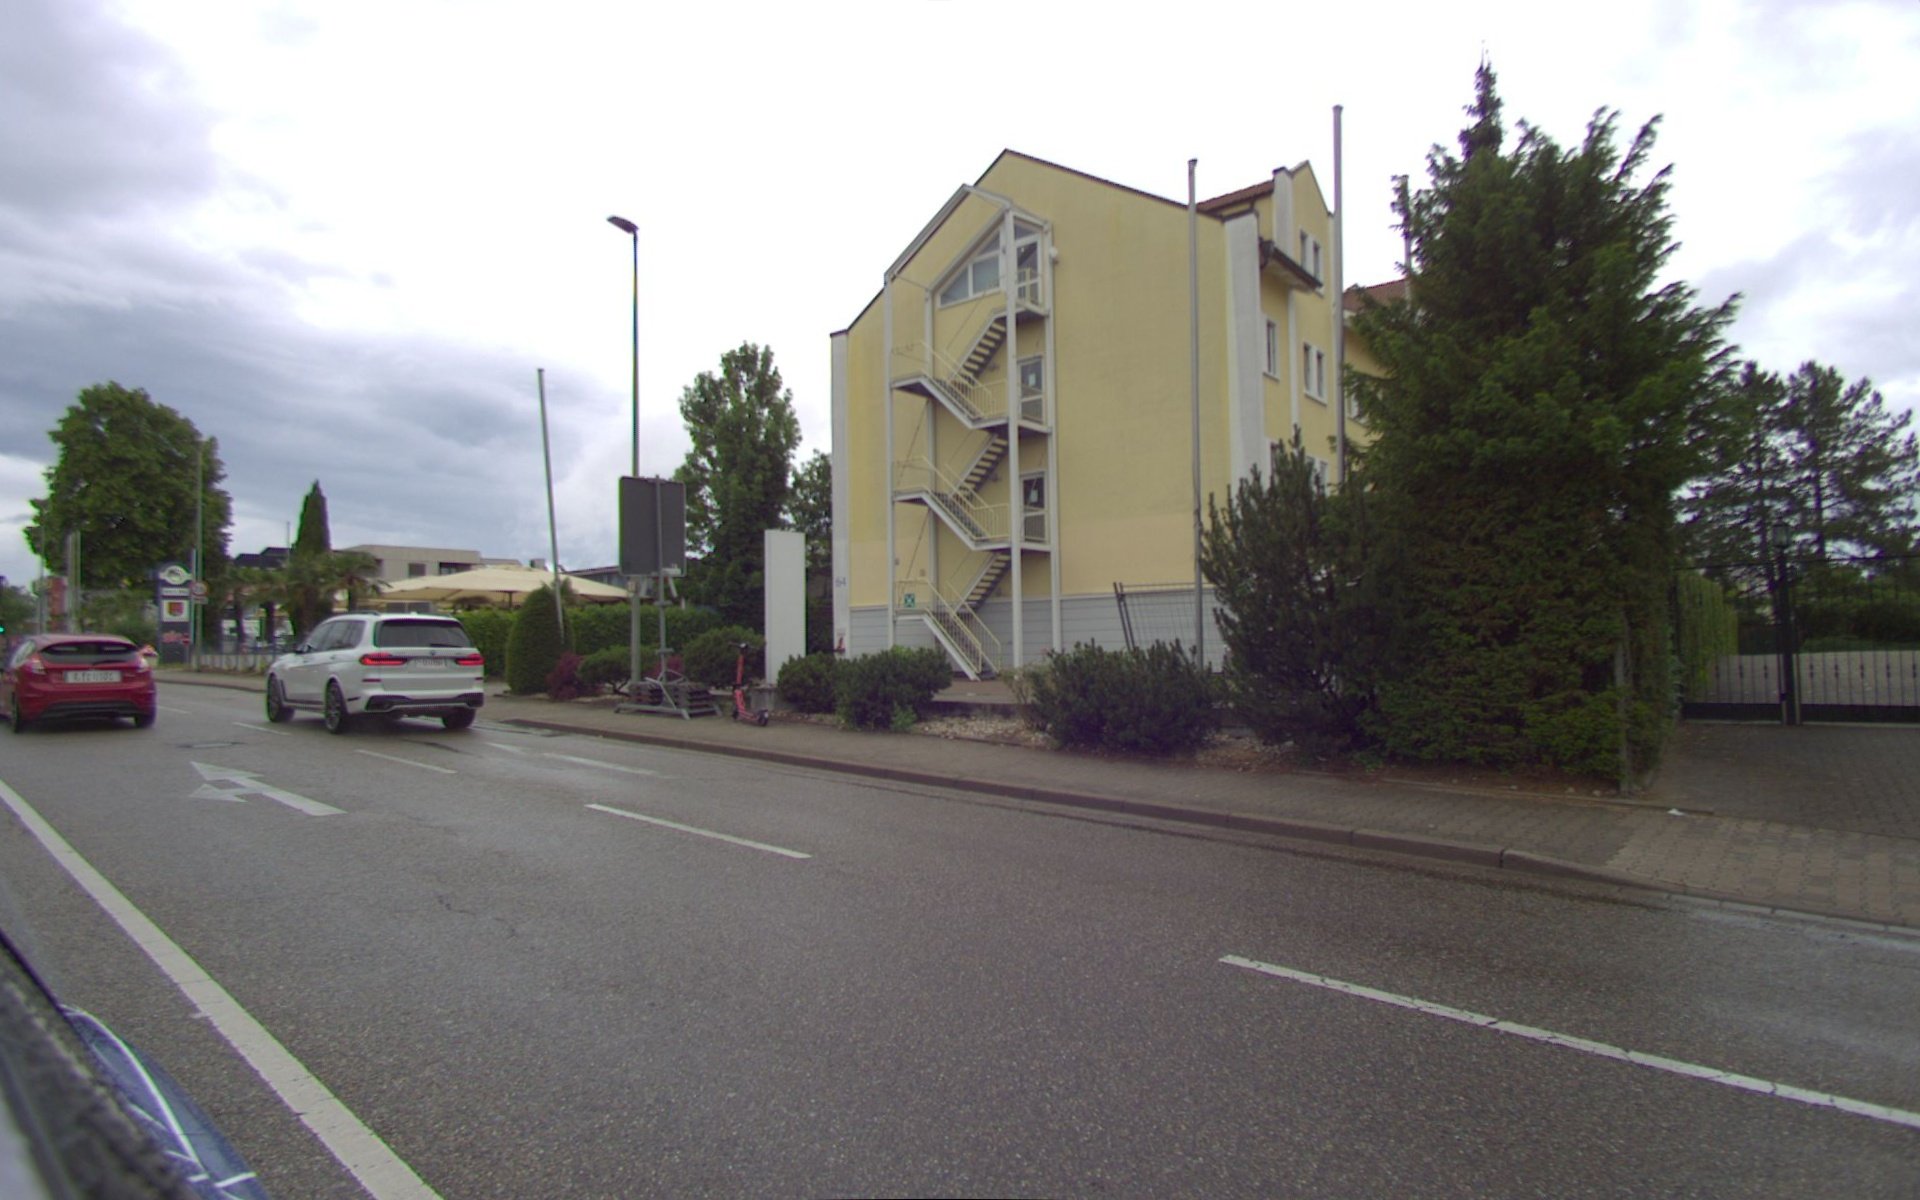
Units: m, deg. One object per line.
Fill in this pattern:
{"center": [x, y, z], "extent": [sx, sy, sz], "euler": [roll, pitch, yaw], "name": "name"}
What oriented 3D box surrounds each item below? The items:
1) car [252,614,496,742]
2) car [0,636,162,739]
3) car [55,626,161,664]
{"center": [-9.701, 1.194, 16.550], "extent": [5.141, 1.776, 1.897], "euler": [-2, -4, 42], "name": "car"}
{"center": [-14.227, 1.316, 16.137], "extent": [3.840, 1.430, 1.663], "euler": [-2, -4, 42], "name": "car"}
{"center": [-49.291, 2.660, 58.670], "extent": [1.980, 2.029, 4.381], "euler": [-1, -4, 13], "name": "car"}
